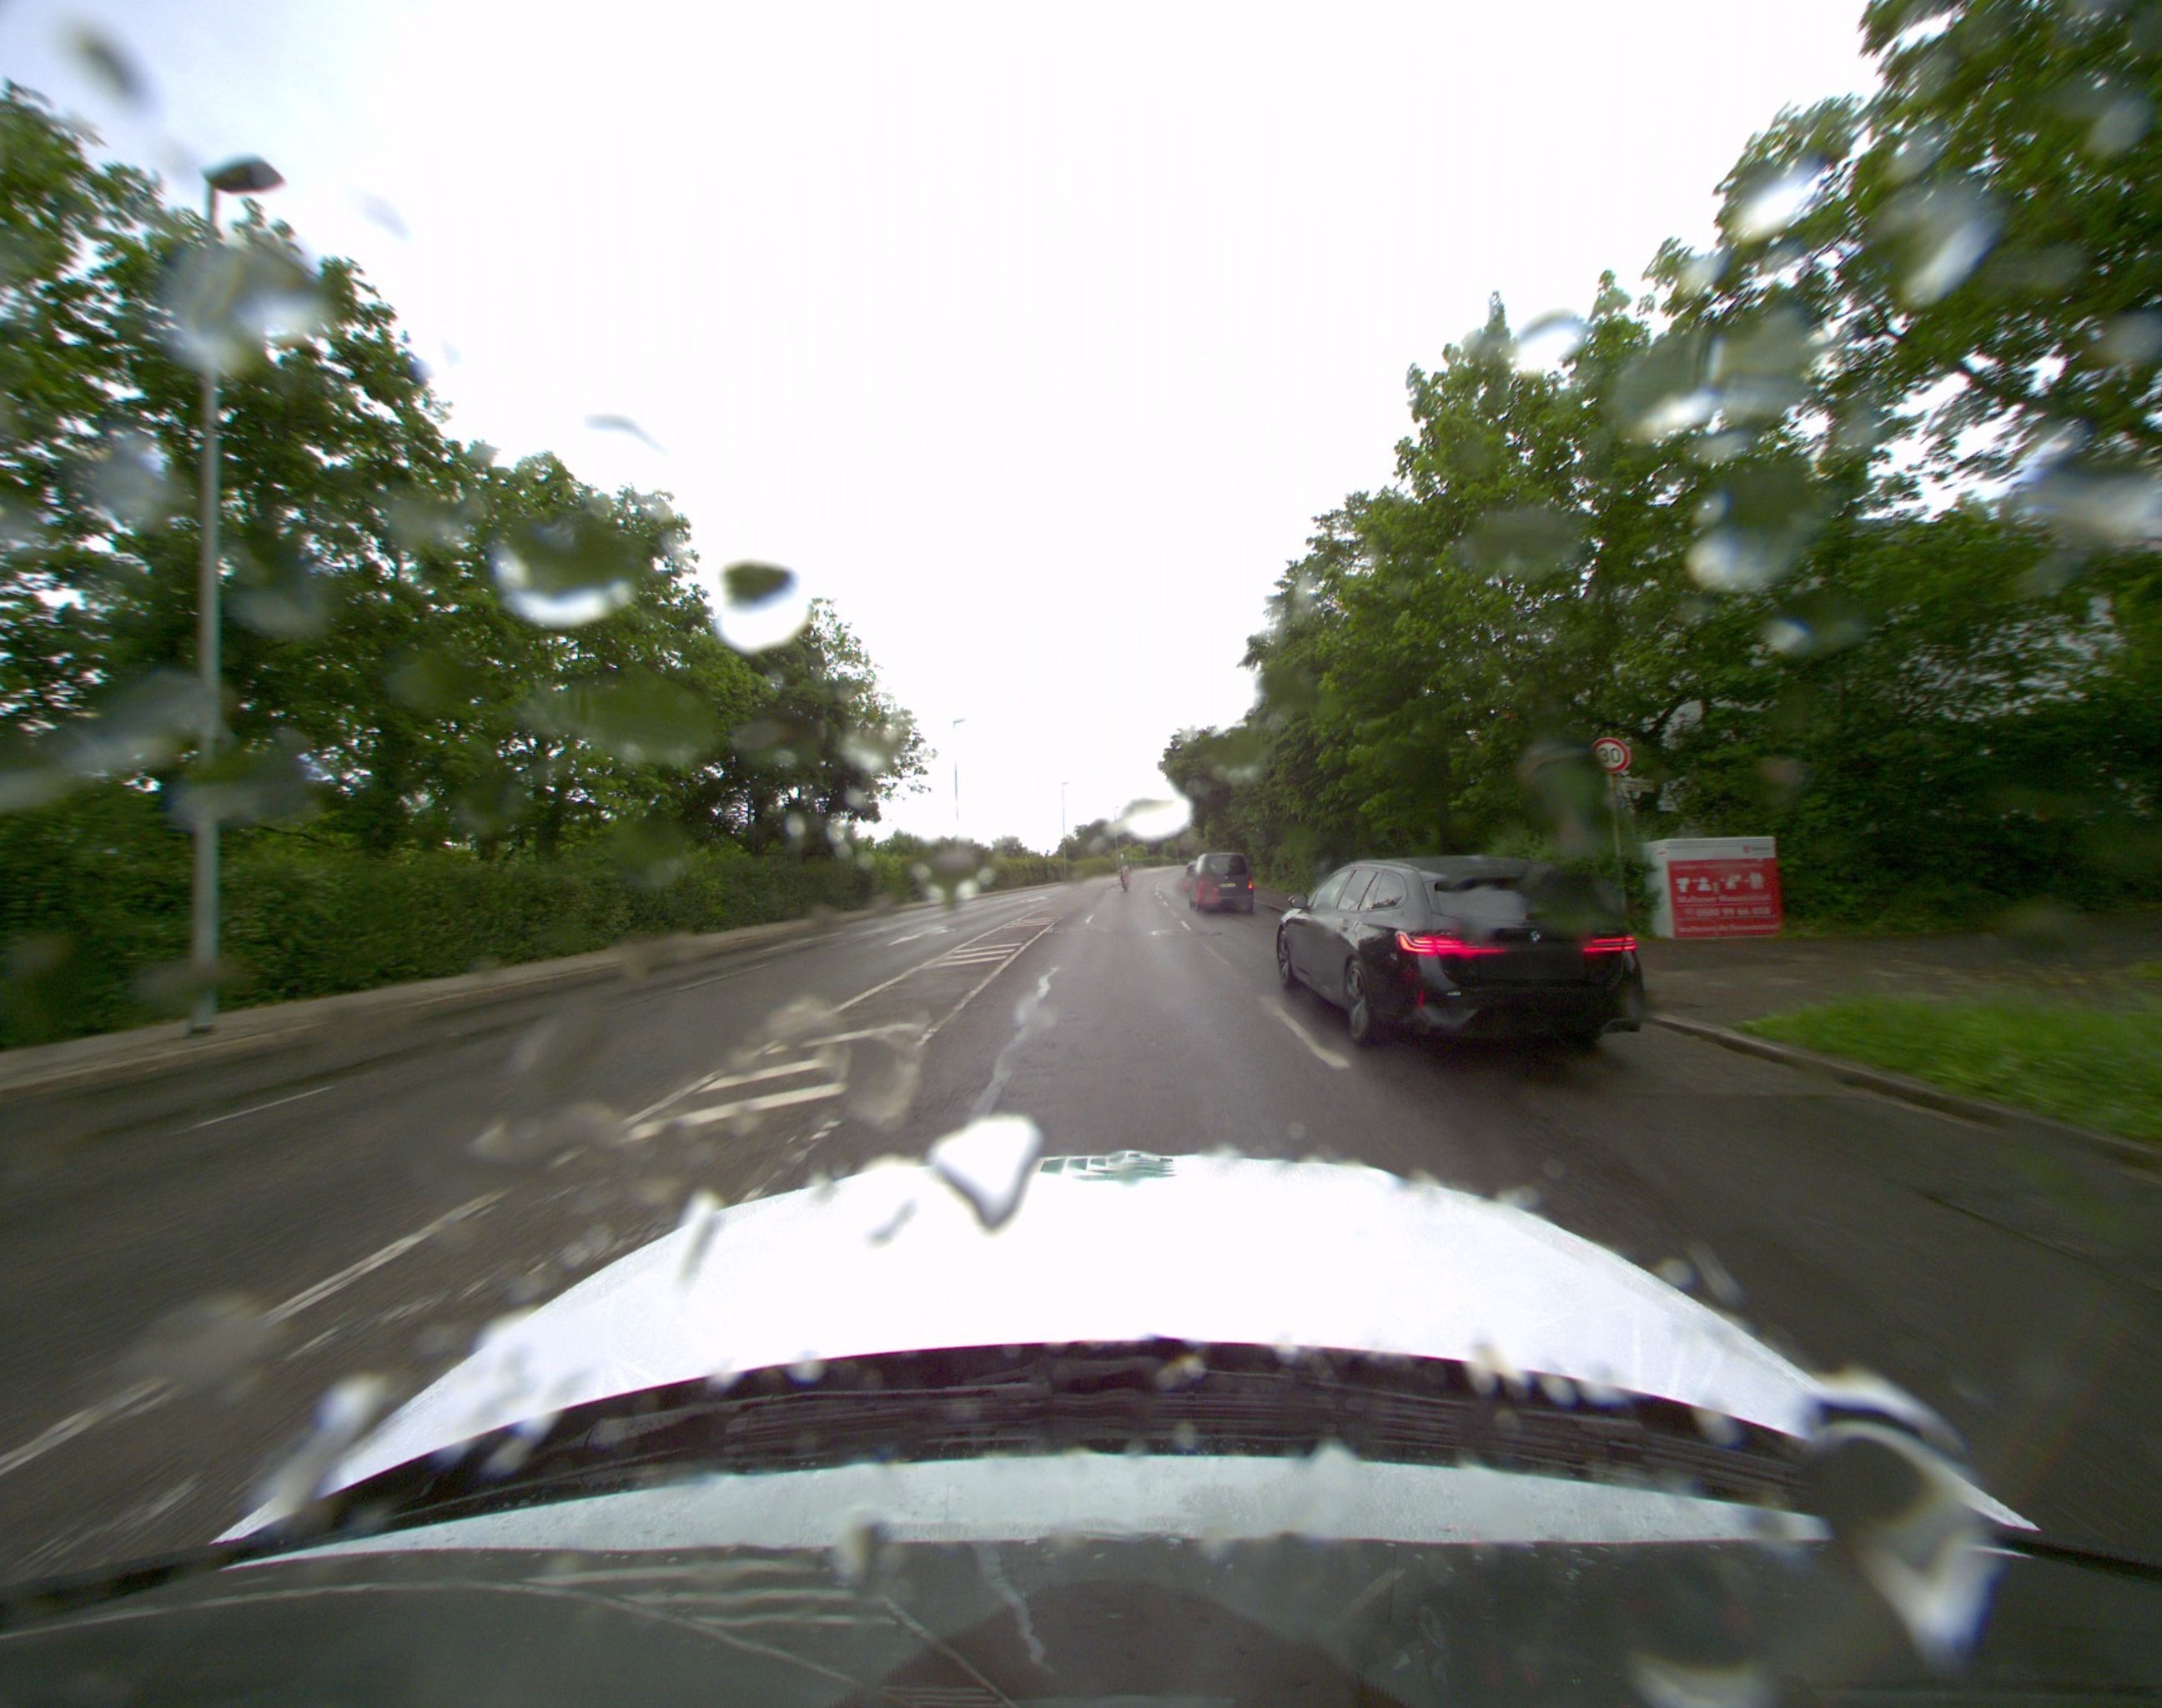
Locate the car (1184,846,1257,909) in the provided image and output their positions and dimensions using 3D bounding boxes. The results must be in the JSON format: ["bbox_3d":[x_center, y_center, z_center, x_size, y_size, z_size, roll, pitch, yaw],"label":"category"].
[{"bbox_3d":[4.395,0.685,26.142,1.760,1.810,3.908,-2,1,2],"label":"car"}]

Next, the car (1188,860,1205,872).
[{"bbox_3d":[15.217,1.588,107.235,2.002,1.415,4.499,-1,1,10],"label":"car"}]

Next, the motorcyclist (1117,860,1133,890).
[{"bbox_3d":[2.559,1.211,46.975,0.841,1.647,0.468,-2,0,5],"label":"motorcyclist"}]

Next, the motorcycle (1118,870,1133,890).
[{"bbox_3d":[2.564,1.488,46.990,0.737,1.119,1.429,-1,0,6],"label":"motorcycle"}]

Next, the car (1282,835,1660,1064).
[{"bbox_3d":[3.081,0.678,7.345,1.757,1.537,3.674,0,-1,2],"label":"car"}]
